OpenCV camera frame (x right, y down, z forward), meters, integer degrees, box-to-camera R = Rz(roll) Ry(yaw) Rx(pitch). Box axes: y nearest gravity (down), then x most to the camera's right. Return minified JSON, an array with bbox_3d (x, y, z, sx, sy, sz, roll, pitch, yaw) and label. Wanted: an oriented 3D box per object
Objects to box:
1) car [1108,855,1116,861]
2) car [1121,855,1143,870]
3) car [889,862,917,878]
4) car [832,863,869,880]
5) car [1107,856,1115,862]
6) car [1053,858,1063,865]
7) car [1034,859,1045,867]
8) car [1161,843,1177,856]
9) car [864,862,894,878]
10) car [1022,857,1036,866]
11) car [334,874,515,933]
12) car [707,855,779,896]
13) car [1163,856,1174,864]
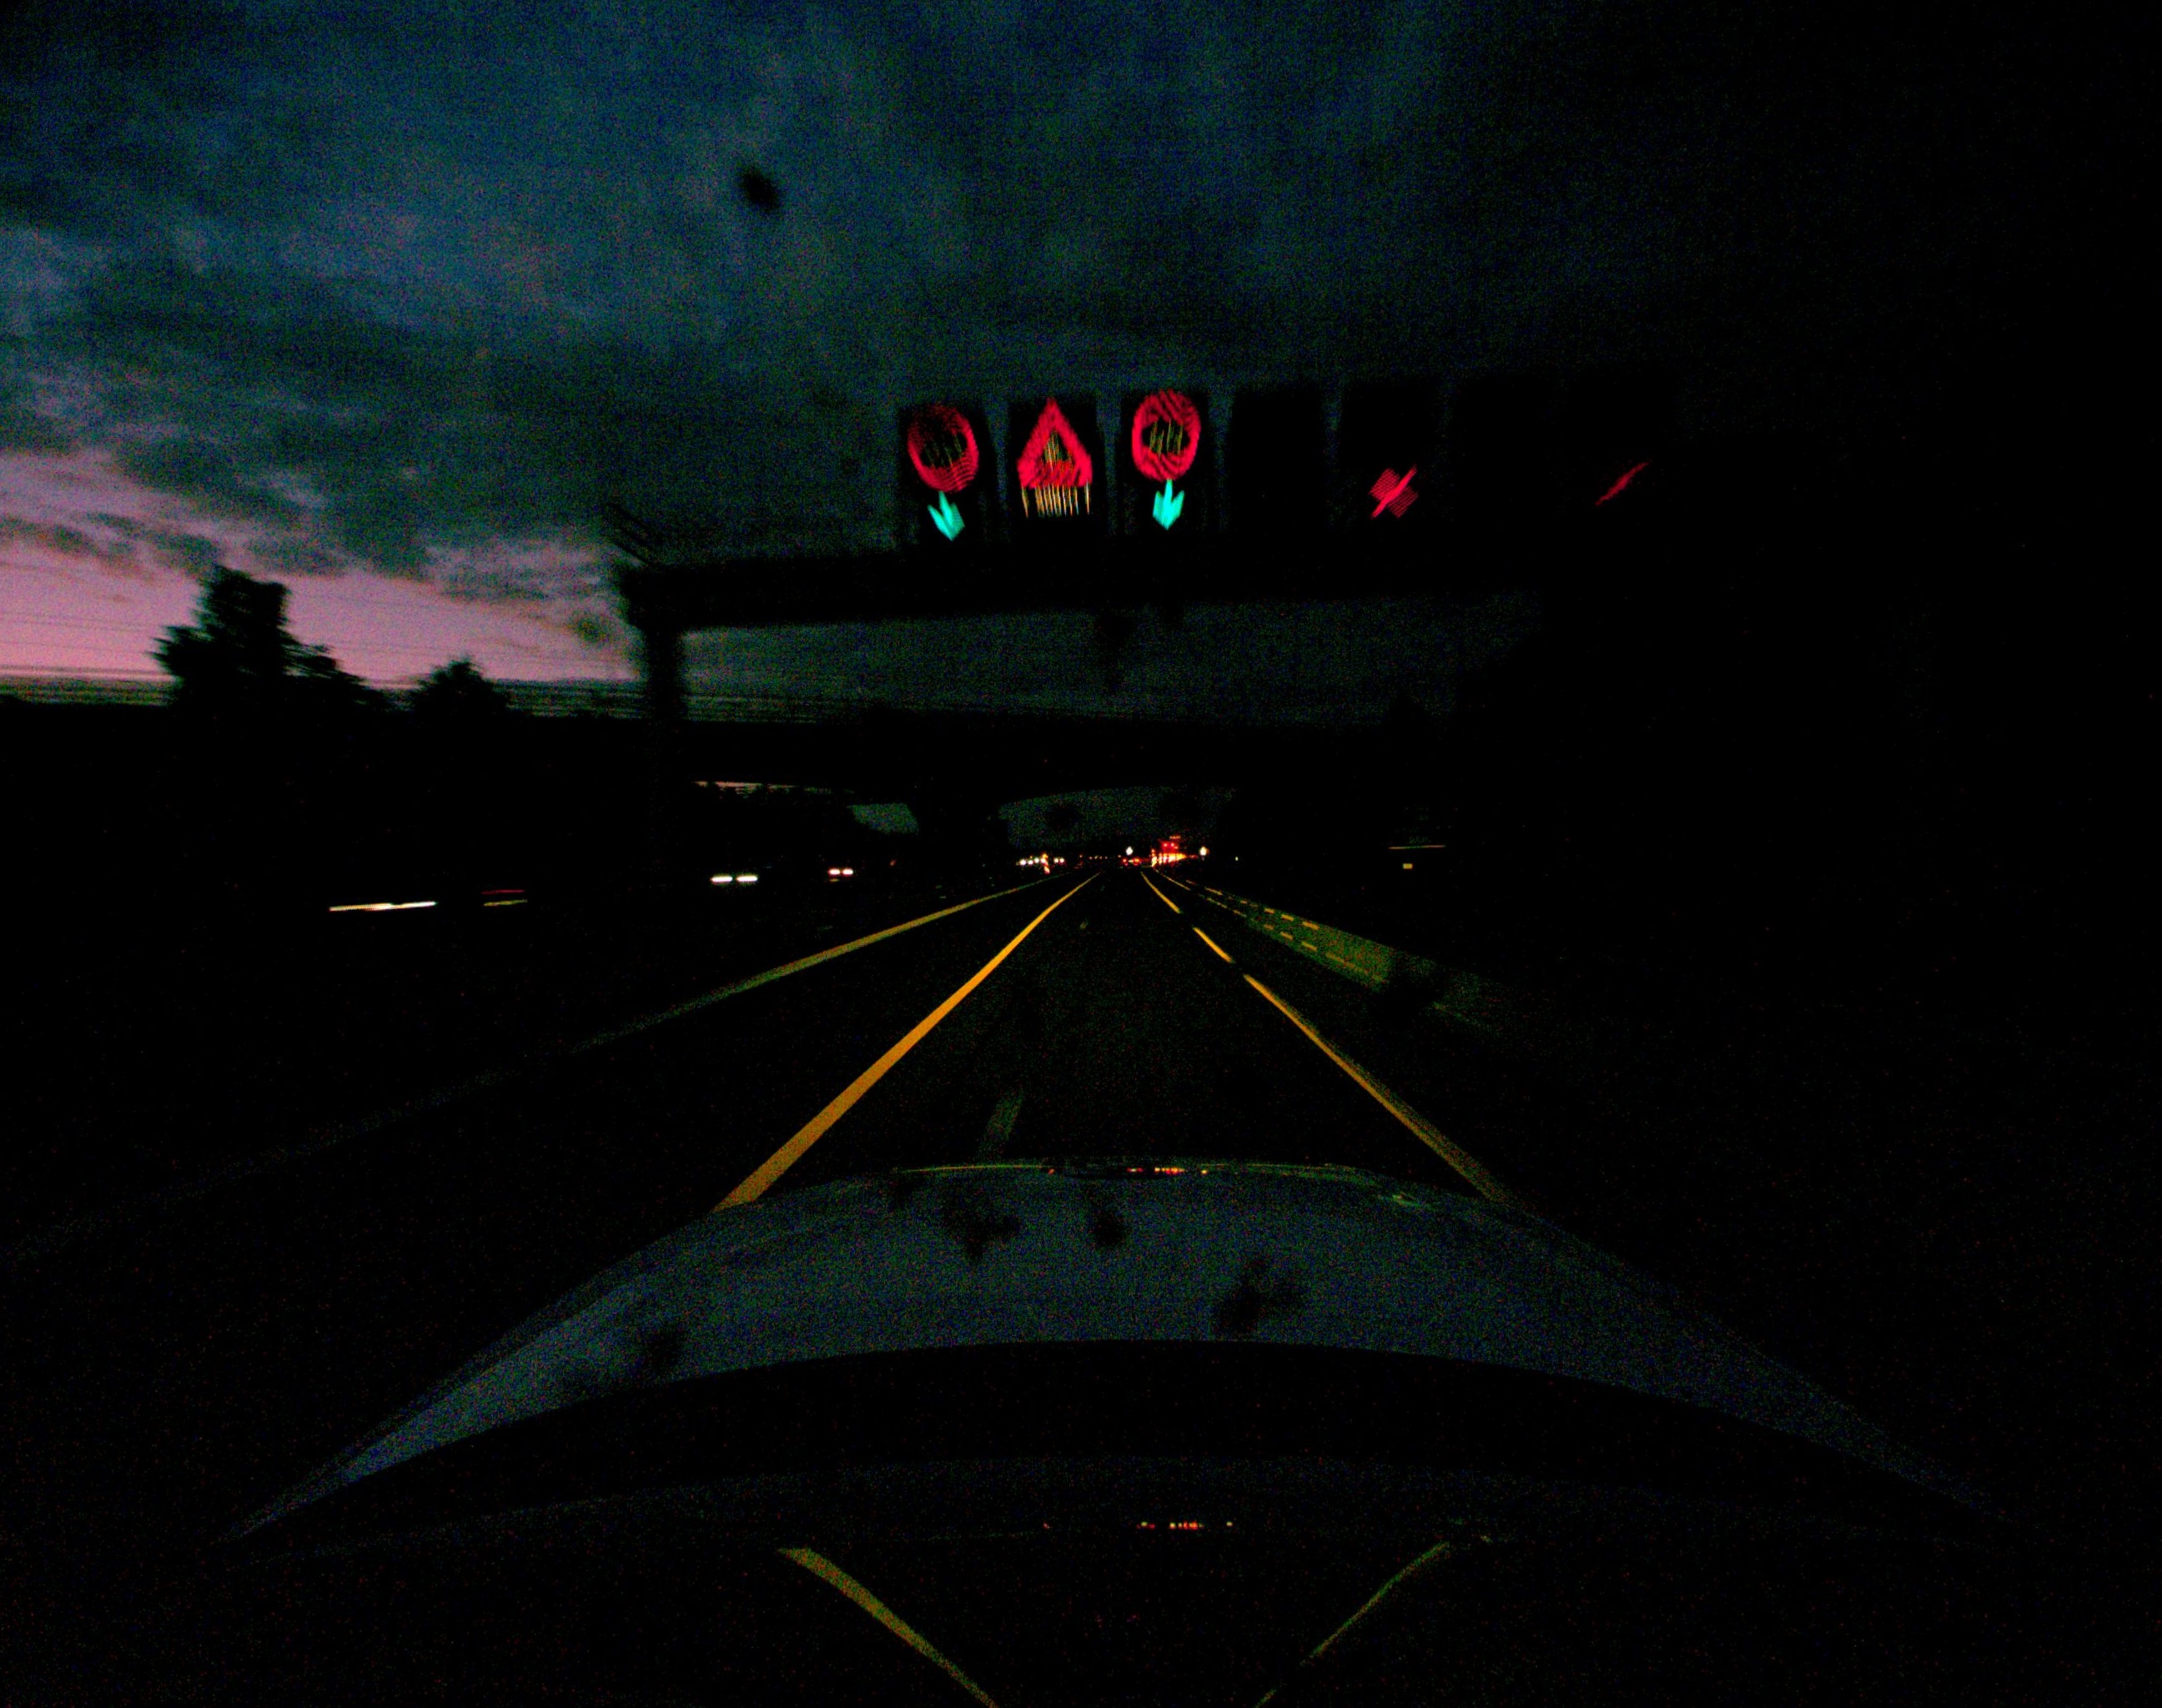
[{"bbox_3d":[9.218,1.224,243.962,1.982,1.828,4.008,0,0,8],"label":"car"},{"bbox_3d":[5.550,0.953,88.874,2.256,1.621,4.003,0,0,3],"label":"car"},{"bbox_3d":[-16.211,1.468,74.456,1.620,1.406,3.523,0,0,3],"label":"car"},{"bbox_3d":[-20.498,1.542,72.523,1.986,1.323,4.001,-2,0,1],"label":"car"},{"bbox_3d":[8.801,1.422,236.980,1.982,1.714,4.008,0,0,8],"label":"car"},{"bbox_3d":[-5.170,1.733,183.698,1.821,1.661,4.849,0,0,6],"label":"car"},{"bbox_3d":[-9.231,1.932,180.898,1.897,1.714,3.950,0,0,7],"label":"car"},{"bbox_3d":[23.930,-1.305,221.858,3.592,3.396,8.015,0,0,1],"label":"car"},{"bbox_3d":[-19.861,1.561,80.249,1.988,1.419,3.998,-2,0,-1],"label":"car"},{"bbox_3d":[-9.285,1.320,145.945,1.821,1.661,4.849,0,0,6],"label":"car"},{"bbox_3d":[-20.970,1.516,26.317,1.986,1.674,4.584,0,0,2],"label":"car"},{"bbox_3d":[-19.383,1.187,46.957,1.986,2.190,4.804,0,0,2],"label":"car"},{"bbox_3d":[16.299,1.079,152.313,1.962,1.437,4.005,0,0,5],"label":"car"}]
